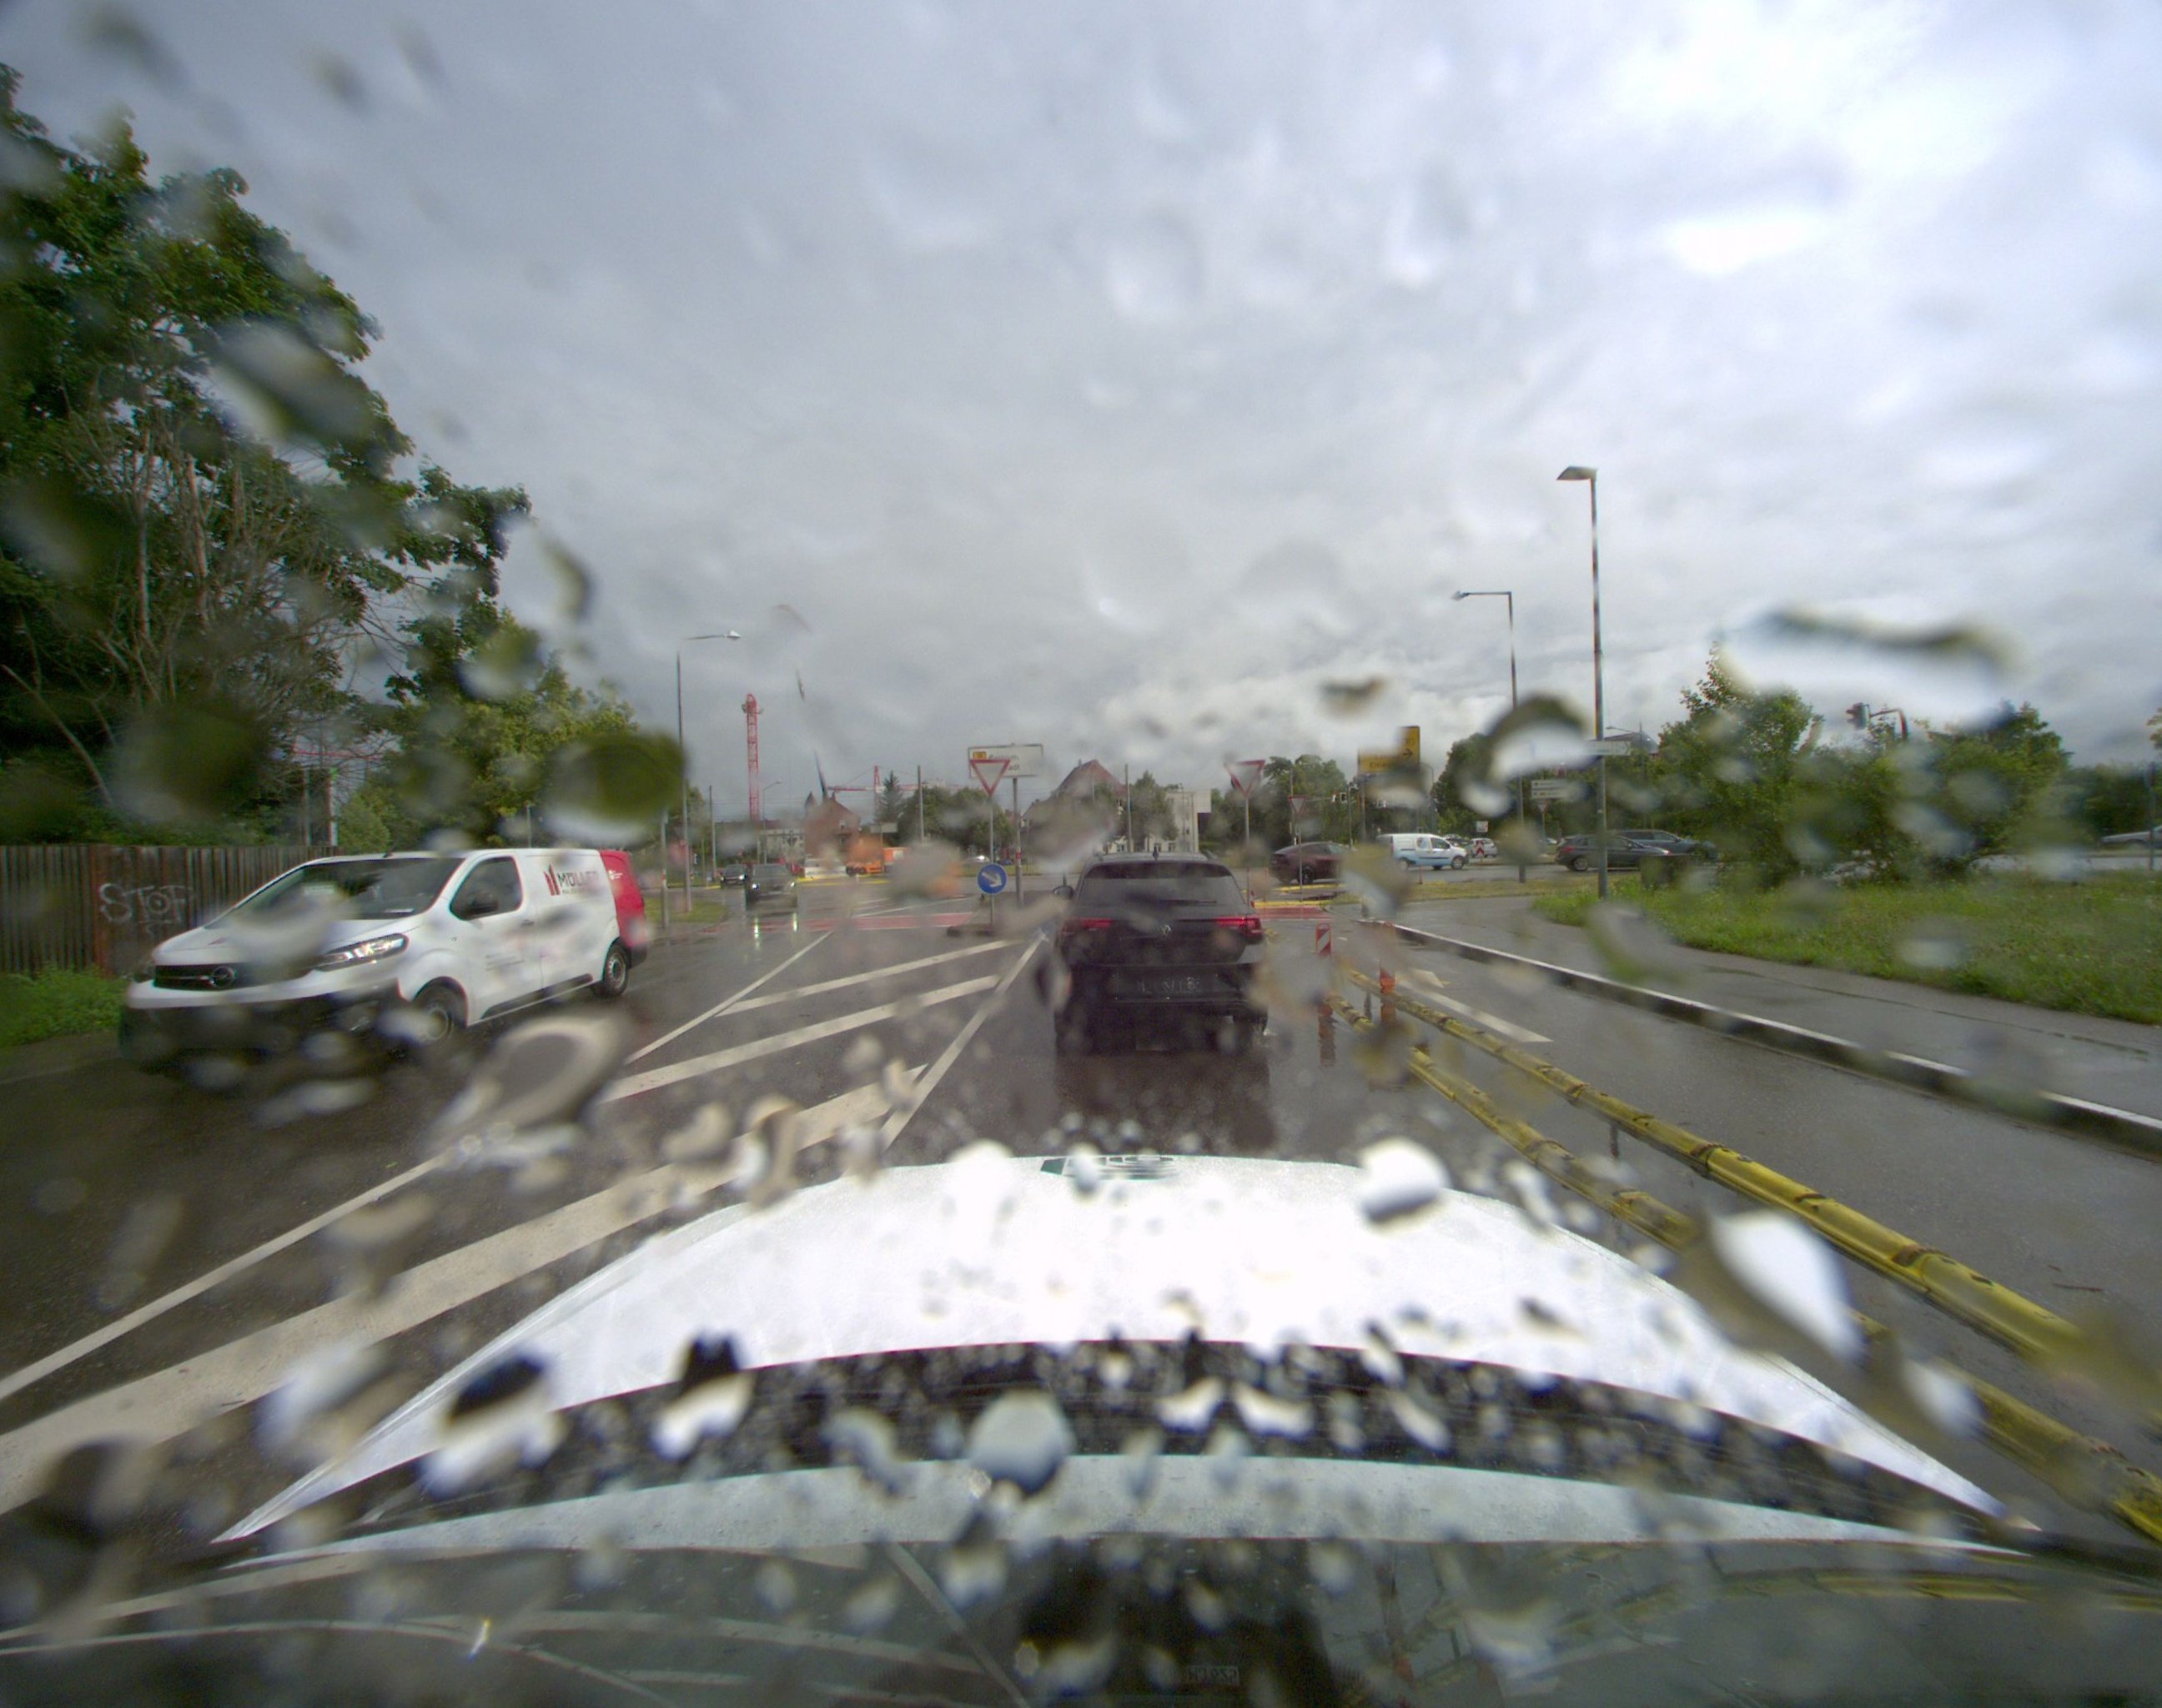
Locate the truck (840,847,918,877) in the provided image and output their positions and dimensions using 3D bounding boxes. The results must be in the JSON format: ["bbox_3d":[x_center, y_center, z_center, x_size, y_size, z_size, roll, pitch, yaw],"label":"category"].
[{"bbox_3d":[-19.233,0.738,77.993,2.300,2.650,7.134,-2,0,41],"label":"truck"}]

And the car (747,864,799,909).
[{"bbox_3d":[-12.608,1.282,33.516,1.739,1.664,4.084,-1,0,-18],"label":"car"}]

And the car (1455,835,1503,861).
[{"bbox_3d":[30.086,-0.426,61.624,1.983,1.830,4.007,-2,0,6],"label":"car"}]

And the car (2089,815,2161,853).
[{"bbox_3d":[46.736,-0.891,34.967,4.063,1.560,1.926,-2,0,44],"label":"car"}]

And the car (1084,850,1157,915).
[{"bbox_3d":[1.097,0.678,21.478,1.727,1.514,3.608,-2,0,4],"label":"car"}]

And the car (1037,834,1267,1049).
[{"bbox_3d":[0.521,0.662,7.958,1.703,1.574,3.681,-1,0,-1],"label":"car"}]

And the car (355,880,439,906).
[{"bbox_3d":[-48.038,2.751,57.218,4.384,1.628,1.630,-2,0,-2],"label":"car"}]

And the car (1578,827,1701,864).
[{"bbox_3d":[25.438,-0.386,37.303,4.350,1.548,1.881,-2,0,24],"label":"car"}]

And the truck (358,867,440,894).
[{"bbox_3d":[-68.253,2.649,81.592,6.662,2.442,2.441,-2,0,9],"label":"truck"}]

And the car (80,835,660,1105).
[{"bbox_3d":[-6.568,0.856,8.601,1.885,1.876,5.122,-3,0,-6],"label":"car"}]

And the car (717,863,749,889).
[{"bbox_3d":[-23.562,1.449,55.109,1.575,1.648,3.619,-2,0,-29],"label":"car"}]

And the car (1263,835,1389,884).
[{"bbox_3d":[9.665,0.206,32.309,4.334,1.725,1.997,-2,0,-5],"label":"car"}]

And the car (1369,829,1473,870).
[{"bbox_3d":[16.617,-0.224,39.860,4.393,1.809,1.862,-2,0,-12],"label":"car"}]

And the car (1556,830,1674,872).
[{"bbox_3d":[22.529,-0.112,34.541,3.907,1.644,1.680,-2,0,22],"label":"car"}]
